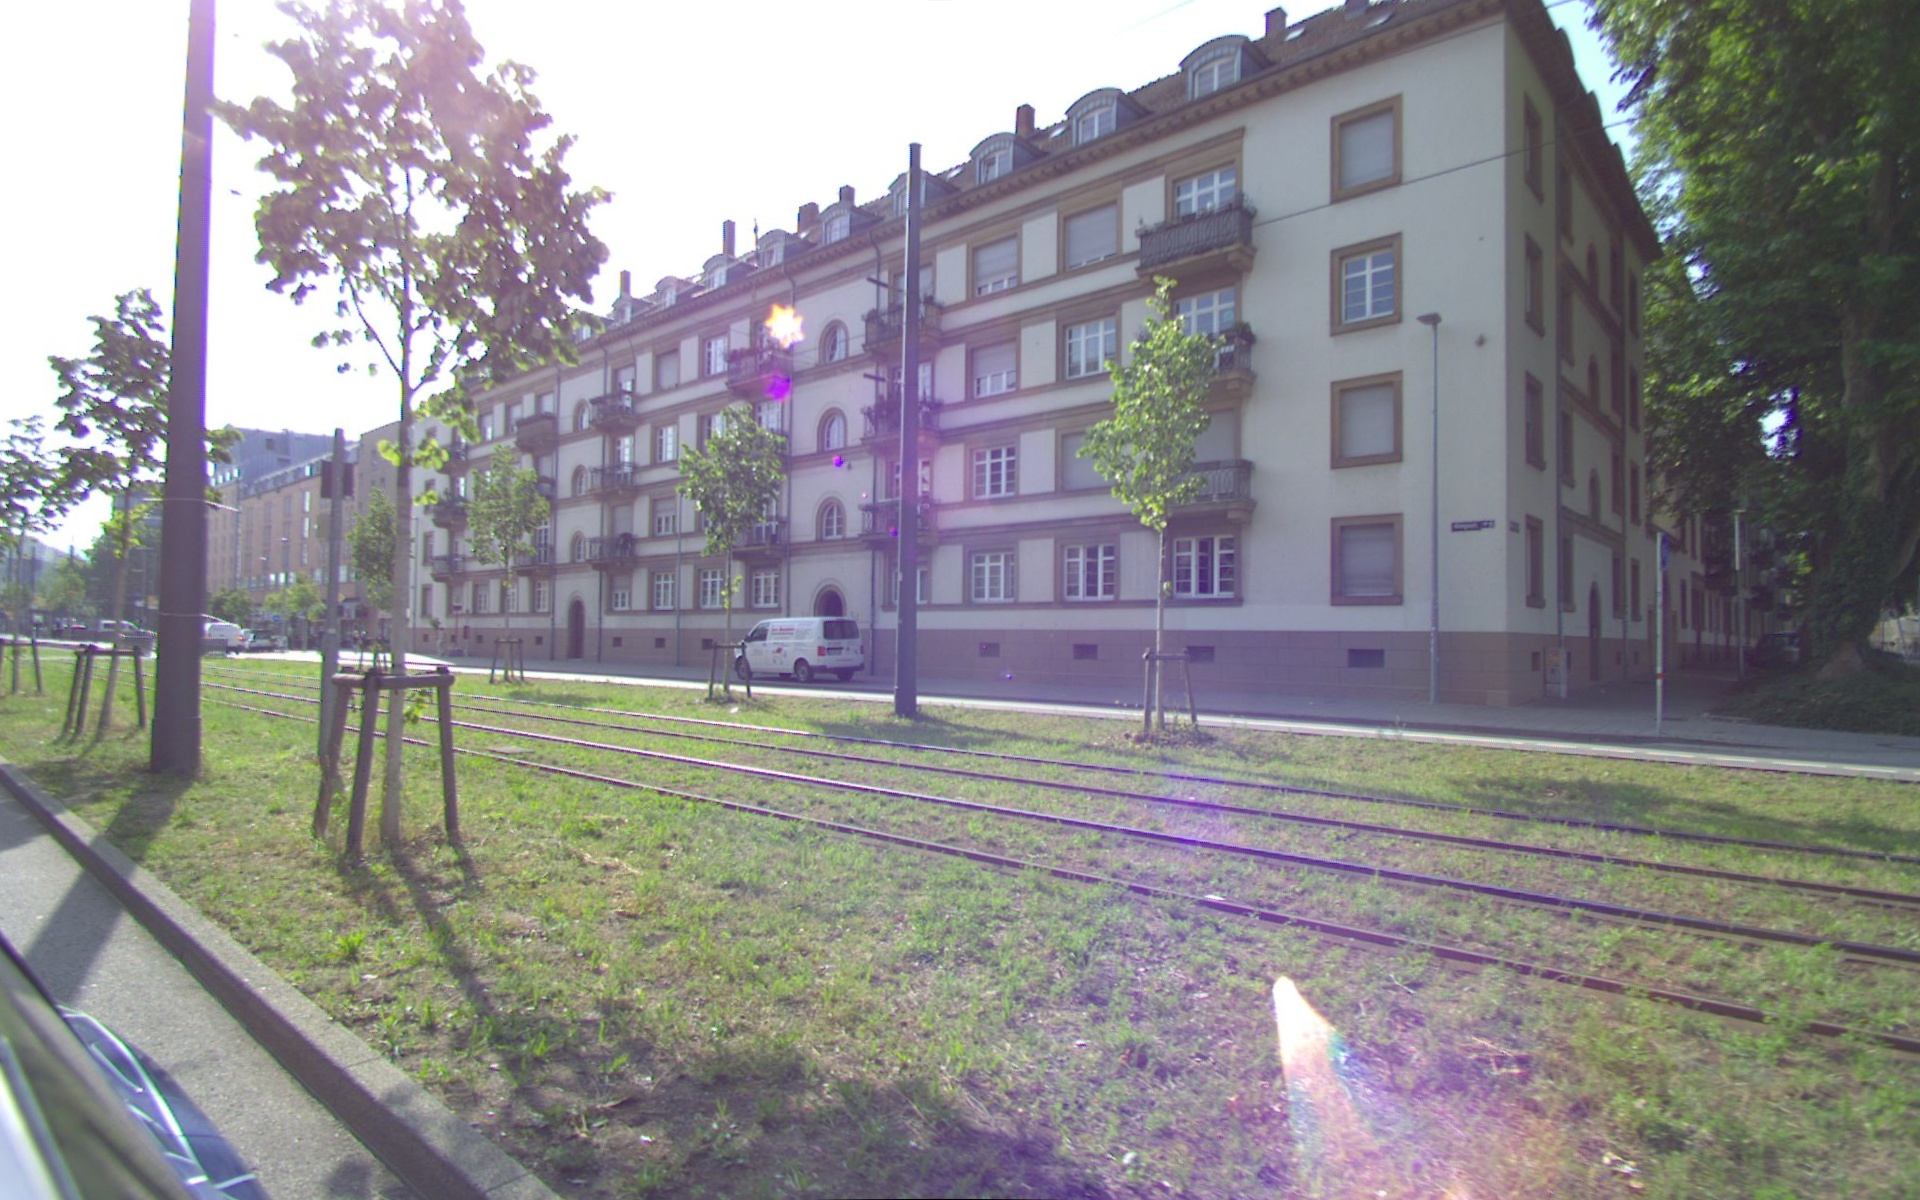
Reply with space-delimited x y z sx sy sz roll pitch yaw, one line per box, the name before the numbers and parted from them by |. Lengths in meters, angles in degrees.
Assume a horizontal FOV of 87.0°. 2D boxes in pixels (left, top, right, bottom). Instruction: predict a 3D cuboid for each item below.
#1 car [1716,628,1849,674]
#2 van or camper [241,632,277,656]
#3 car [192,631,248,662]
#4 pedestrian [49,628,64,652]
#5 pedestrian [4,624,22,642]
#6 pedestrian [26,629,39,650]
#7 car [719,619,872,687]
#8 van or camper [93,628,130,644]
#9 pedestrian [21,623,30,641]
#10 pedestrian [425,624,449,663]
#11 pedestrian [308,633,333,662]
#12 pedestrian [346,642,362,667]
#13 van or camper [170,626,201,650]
car | 32.618 1.995 40.205 3.998 1.763 1.972 -2 -3 42
van or camper | -59.617 3.711 86.039 1.907 1.983 4.003 3 -3 -44
car | -47.436 2.986 64.812 5.047 1.909 1.971 -2 -3 43
pedestrian | -72.187 3.175 80.845 0.939 1.886 0.731 -2 -3 42
pedestrian | -91.735 3.210 98.011 0.825 1.760 0.784 2 -4 5
pedestrian | -83.973 3.548 91.597 0.555 1.901 0.796 -2 -3 44
car | -5.225 1.596 31.671 5.152 1.932 1.972 -2 -1 42
van or camper | -122.826 5.187 146.529 3.921 2.228 1.939 2 -3 -37
pedestrian | -95.024 3.219 102.905 0.698 1.774 0.644 -1 0 42
pedestrian | -28.588 2.350 55.299 1.156 2.084 0.833 -2 -2 43
pedestrian | -42.416 3.124 67.150 0.856 1.882 1.066 0 -2 14
pedestrian | -39.634 3.576 66.221 0.669 1.595 0.810 1 -3 -15
van or camper | -93.836 4.587 122.614 5.351 2.823 1.972 -1 -3 42
